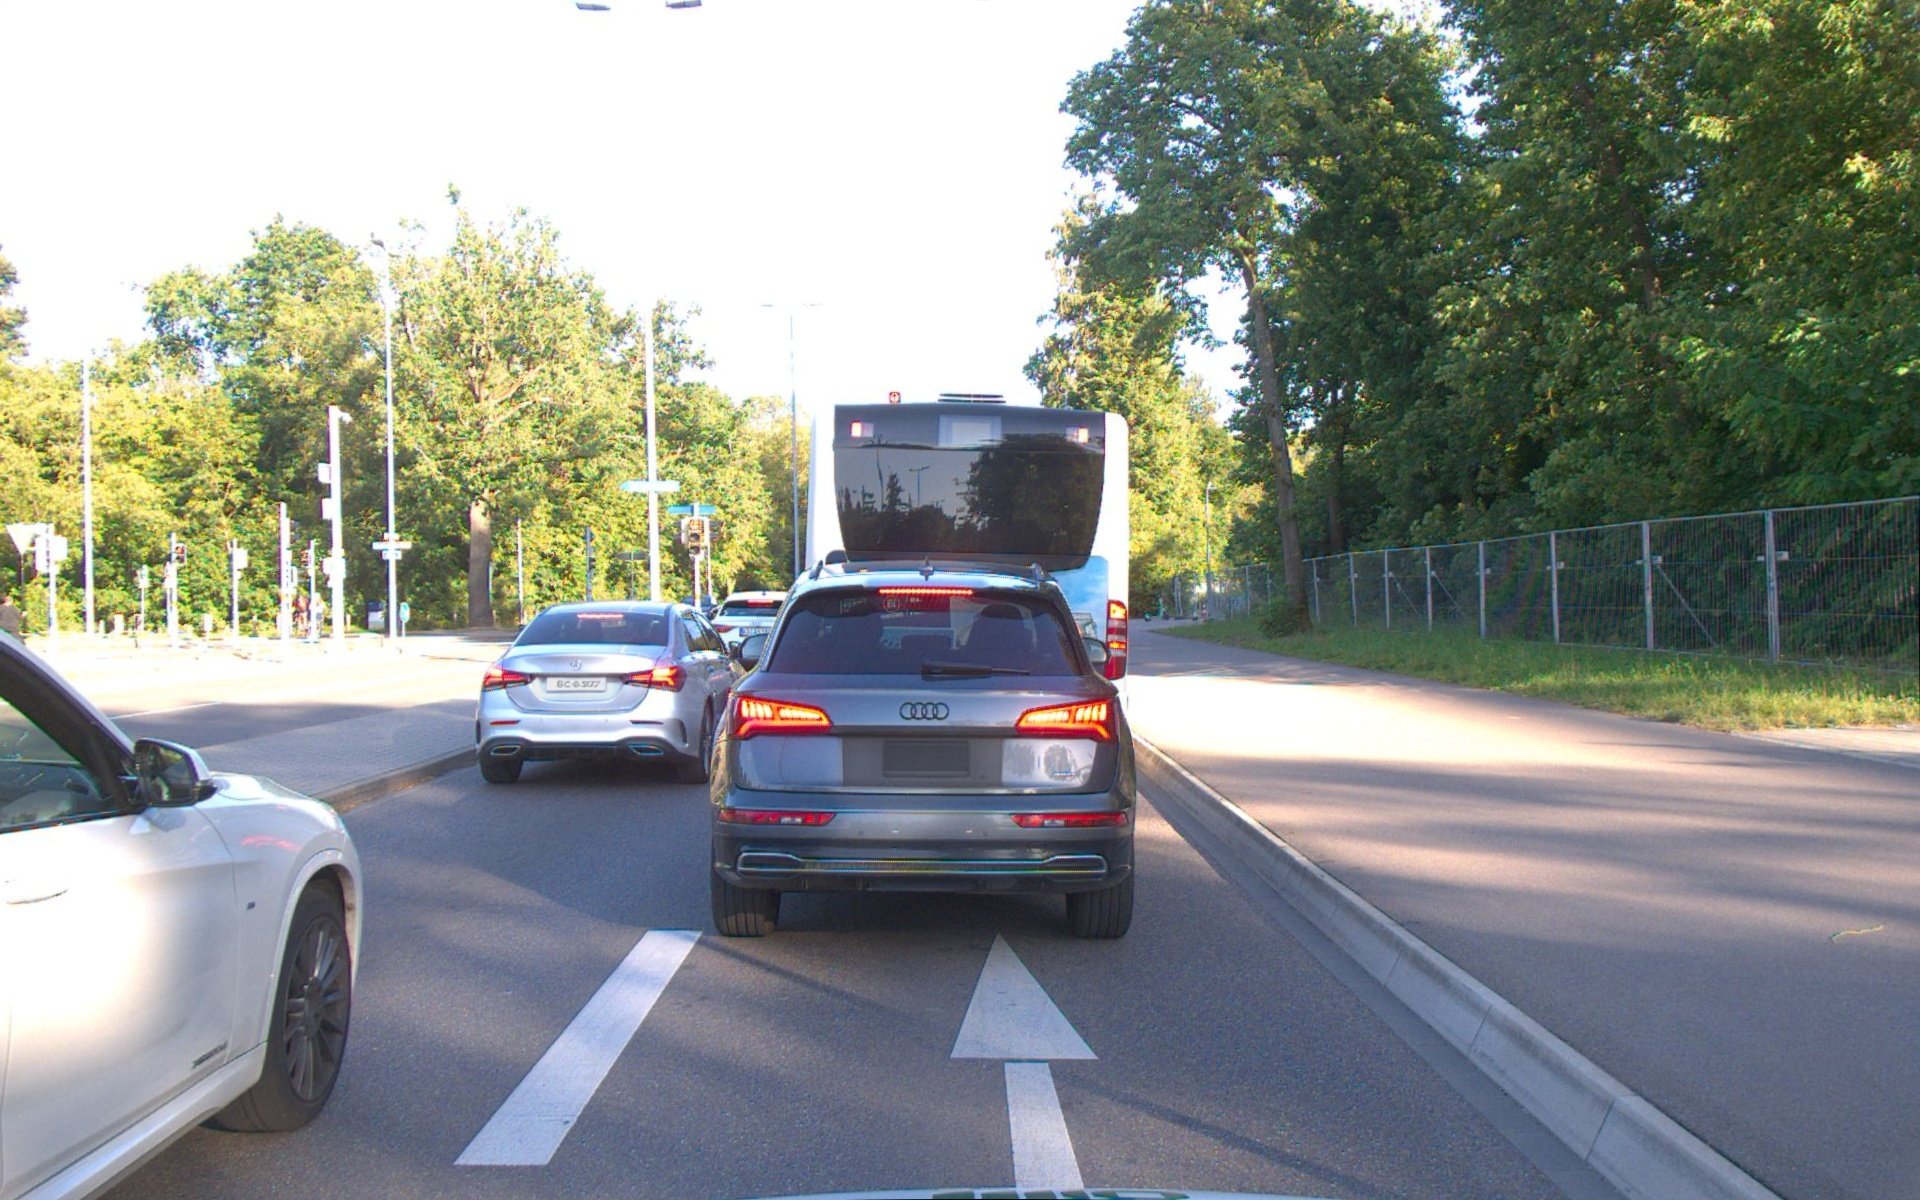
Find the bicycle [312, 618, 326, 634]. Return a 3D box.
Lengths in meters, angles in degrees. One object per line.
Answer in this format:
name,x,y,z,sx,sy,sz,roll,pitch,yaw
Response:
bicycle,-24.724,0.999,63.806,0.261,0.592,0.838,1,0,-6

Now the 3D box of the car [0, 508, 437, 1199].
car,-2.492,0.632,3.077,1.684,1.608,4.433,1,0,-1

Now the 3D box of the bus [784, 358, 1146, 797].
bus,0.058,-0.203,15.164,2.623,3.196,5.882,1,1,0

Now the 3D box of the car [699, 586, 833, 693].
car,-3.130,0.586,27.389,1.771,1.599,4.000,1,1,-1

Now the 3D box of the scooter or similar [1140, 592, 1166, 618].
scooter or similar,9.110,0.242,78.088,1.158,1.195,0.659,1,0,10

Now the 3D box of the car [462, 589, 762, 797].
car,-2.797,0.667,14.239,1.749,1.469,4.277,1,1,-1

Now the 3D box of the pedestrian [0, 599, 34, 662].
pedestrian,-24.140,0.779,42.344,0.472,1.589,0.648,1,-1,-1

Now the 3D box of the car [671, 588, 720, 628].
car,-11.938,0.358,74.830,1.955,1.691,3.995,-2,0,-6

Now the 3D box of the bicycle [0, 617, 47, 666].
bicycle,-24.146,1.040,42.310,0.458,1.198,2.003,1,0,-1

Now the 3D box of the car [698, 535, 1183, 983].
car,-0.101,0.587,8.342,1.830,1.693,4.000,1,1,-1

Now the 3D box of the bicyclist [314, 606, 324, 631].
bicyclist,-24.716,0.719,63.780,0.268,0.979,0.240,1,-1,-7
